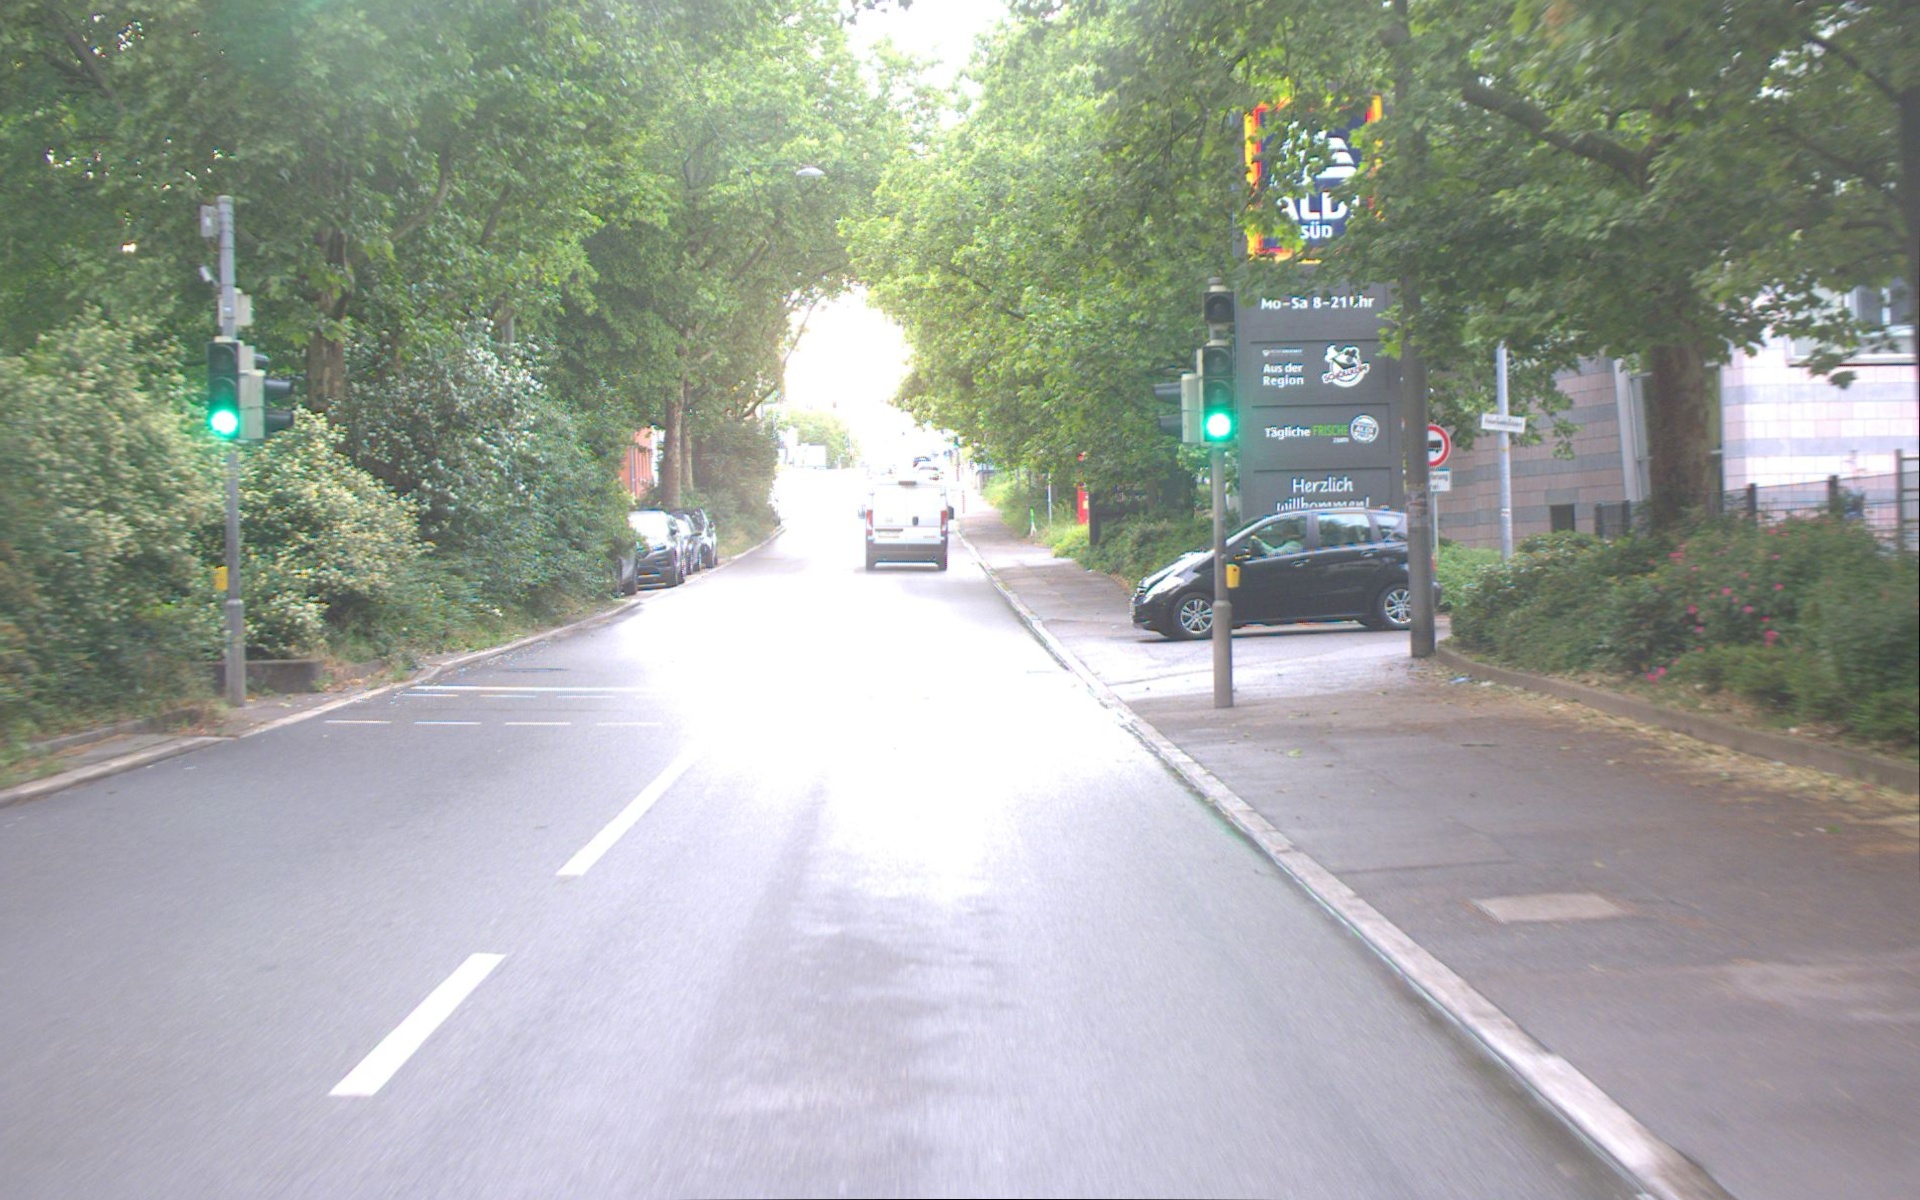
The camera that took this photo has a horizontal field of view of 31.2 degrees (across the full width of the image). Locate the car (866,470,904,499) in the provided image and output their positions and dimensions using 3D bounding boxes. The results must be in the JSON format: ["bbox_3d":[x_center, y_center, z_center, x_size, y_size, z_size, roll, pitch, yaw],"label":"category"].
[{"bbox_3d":[-4.832,-7.435,222.120,2.159,1.703,3.873,1,0,3],"label":"car"}]

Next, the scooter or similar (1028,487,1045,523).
[{"bbox_3d":[2.509,-3.095,112.284,0.425,1.138,1.529,1,0,-3],"label":"scooter or similar"}]

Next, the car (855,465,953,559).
[{"bbox_3d":[-1.375,-2.170,85.746,2.336,2.223,4.000,-2,1,0],"label":"car"}]

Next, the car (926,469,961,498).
[{"bbox_3d":[-1.046,-7.351,217.757,1.930,1.703,3.873,1,0,3],"label":"car"}]

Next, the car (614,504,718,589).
[{"bbox_3d":[-6.044,-1.137,71.104,1.864,1.585,4.240,-3,2,-2],"label":"car"}]

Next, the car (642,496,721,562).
[{"bbox_3d":[-7.065,-1.828,87.558,1.647,1.532,4.019,-4,2,-1],"label":"car"}]

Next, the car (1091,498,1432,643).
[{"bbox_3d":[3.740,-0.392,43.035,3.848,1.542,2.027,-3,2,-6],"label":"car"}]
